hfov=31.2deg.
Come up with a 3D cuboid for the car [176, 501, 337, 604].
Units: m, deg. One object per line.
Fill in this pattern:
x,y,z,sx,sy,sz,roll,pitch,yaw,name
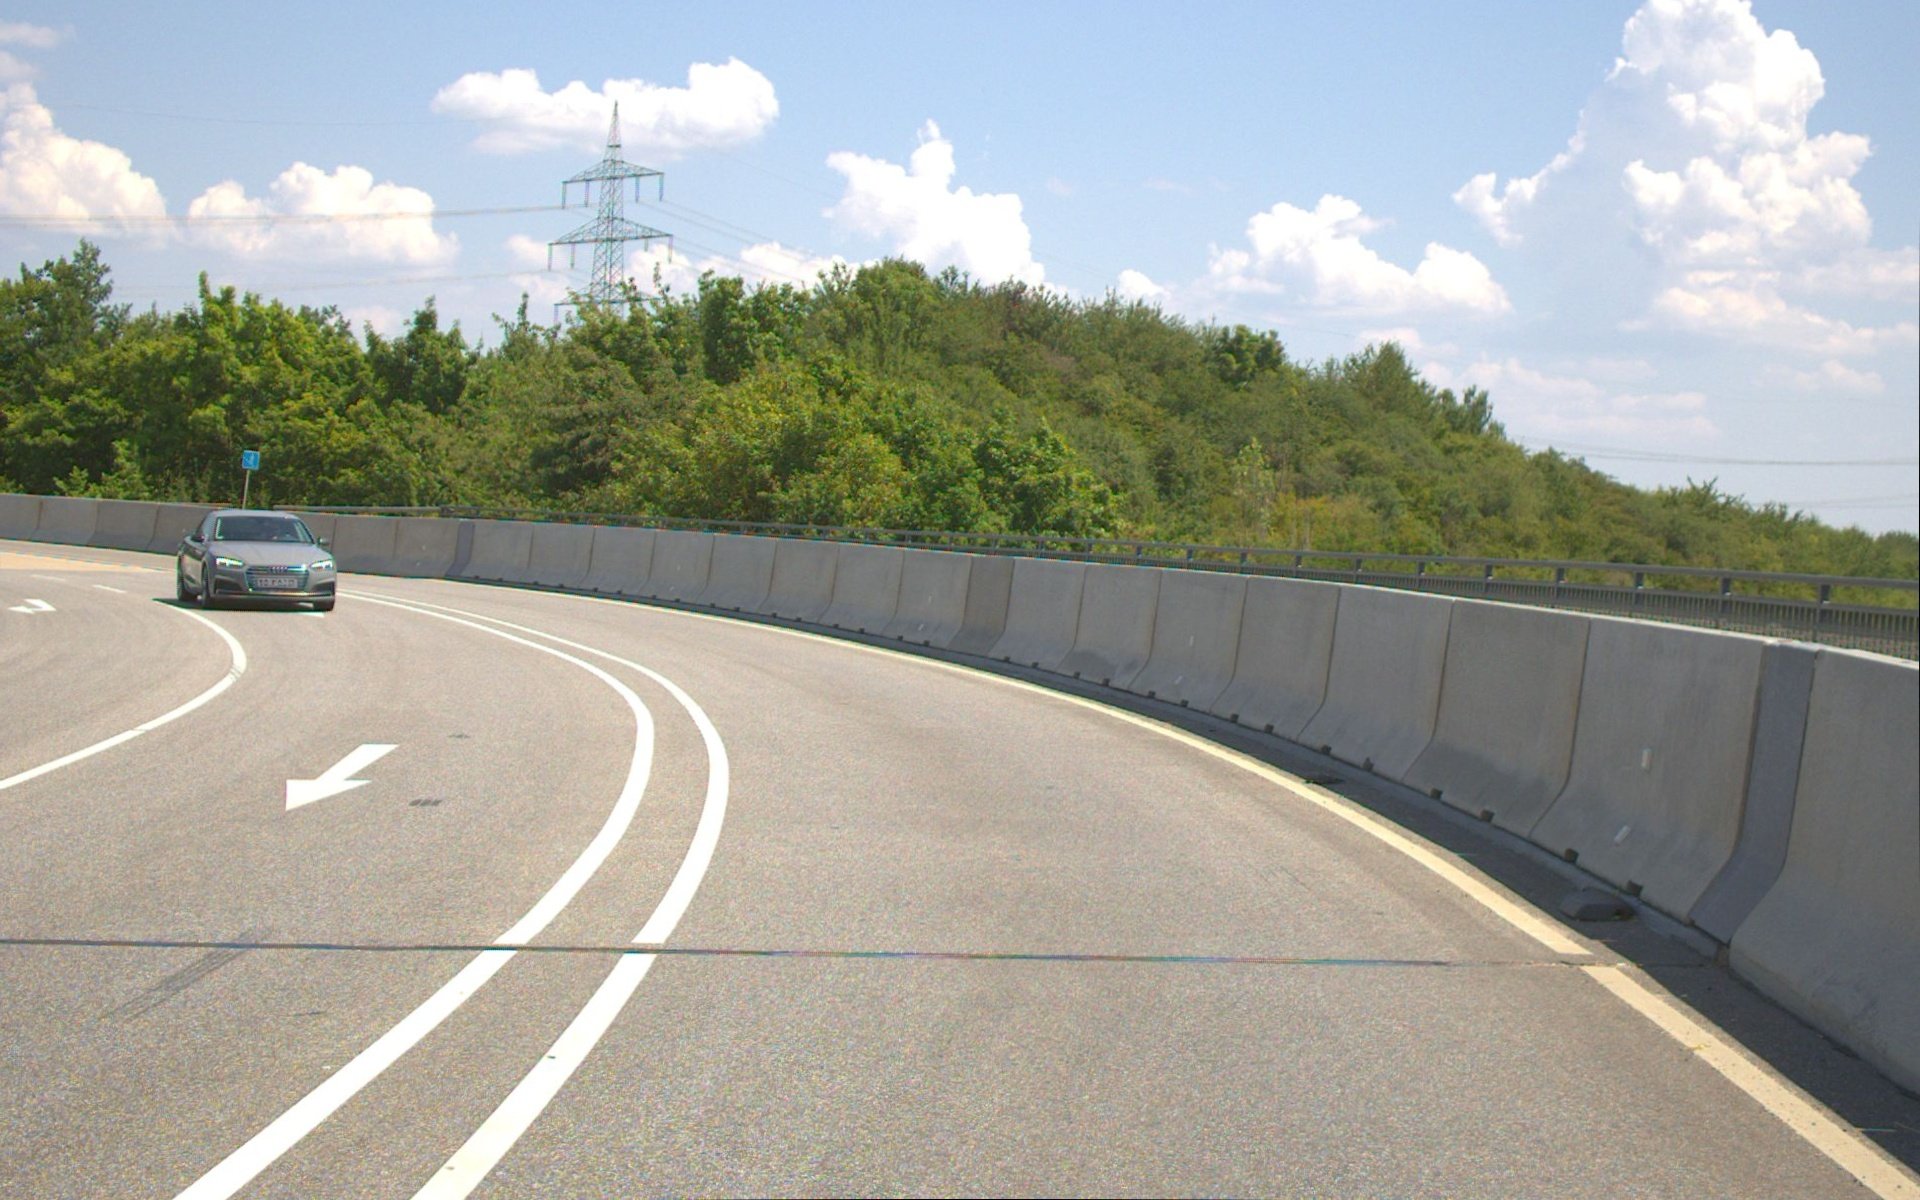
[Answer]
-10.260,-0.712,49.924,1.778,1.380,4.283,1,1,-18,car
